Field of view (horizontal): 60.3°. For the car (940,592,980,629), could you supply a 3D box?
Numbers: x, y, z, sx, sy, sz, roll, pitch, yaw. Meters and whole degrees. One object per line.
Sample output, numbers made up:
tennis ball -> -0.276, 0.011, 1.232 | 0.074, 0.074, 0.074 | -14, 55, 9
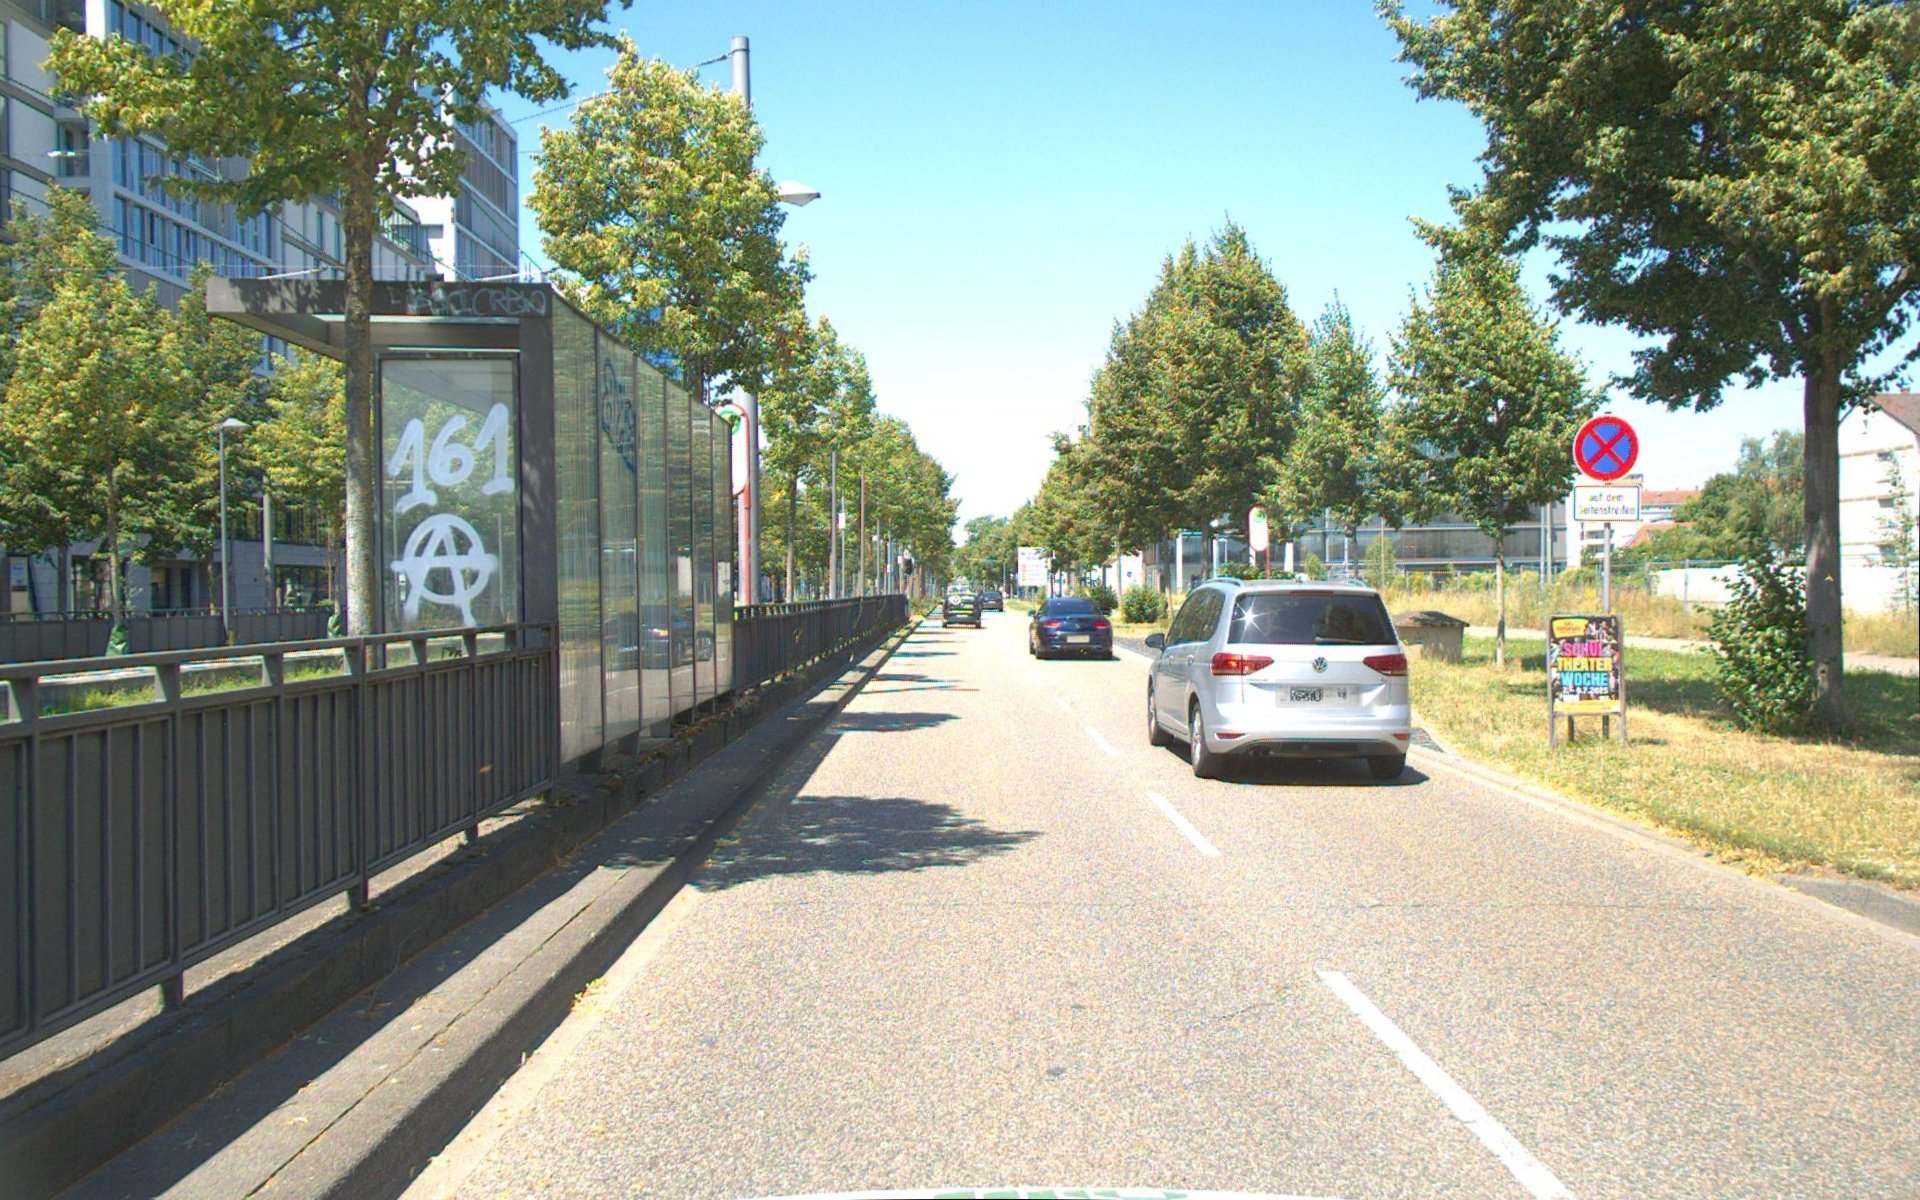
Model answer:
car -> -0.029, 0.457, 68.610 | 1.585, 1.477, 3.985 | -1, -1, -1

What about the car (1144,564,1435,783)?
car -> 2.830, 0.584, 15.220 | 1.763, 1.677, 4.604 | 1, 0, 0

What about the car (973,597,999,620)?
car -> 1.928, 0.626, 124.079 | 1.730, 1.655, 3.714 | -1, 0, -2

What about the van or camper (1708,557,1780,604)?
van or camper -> 48.926, -1.160, 103.351 | 1.954, 2.851, 4.658 | -1, 0, -5

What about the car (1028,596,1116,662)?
car -> 2.606, 0.655, 39.402 | 1.813, 1.461, 4.956 | -1, 0, 1
